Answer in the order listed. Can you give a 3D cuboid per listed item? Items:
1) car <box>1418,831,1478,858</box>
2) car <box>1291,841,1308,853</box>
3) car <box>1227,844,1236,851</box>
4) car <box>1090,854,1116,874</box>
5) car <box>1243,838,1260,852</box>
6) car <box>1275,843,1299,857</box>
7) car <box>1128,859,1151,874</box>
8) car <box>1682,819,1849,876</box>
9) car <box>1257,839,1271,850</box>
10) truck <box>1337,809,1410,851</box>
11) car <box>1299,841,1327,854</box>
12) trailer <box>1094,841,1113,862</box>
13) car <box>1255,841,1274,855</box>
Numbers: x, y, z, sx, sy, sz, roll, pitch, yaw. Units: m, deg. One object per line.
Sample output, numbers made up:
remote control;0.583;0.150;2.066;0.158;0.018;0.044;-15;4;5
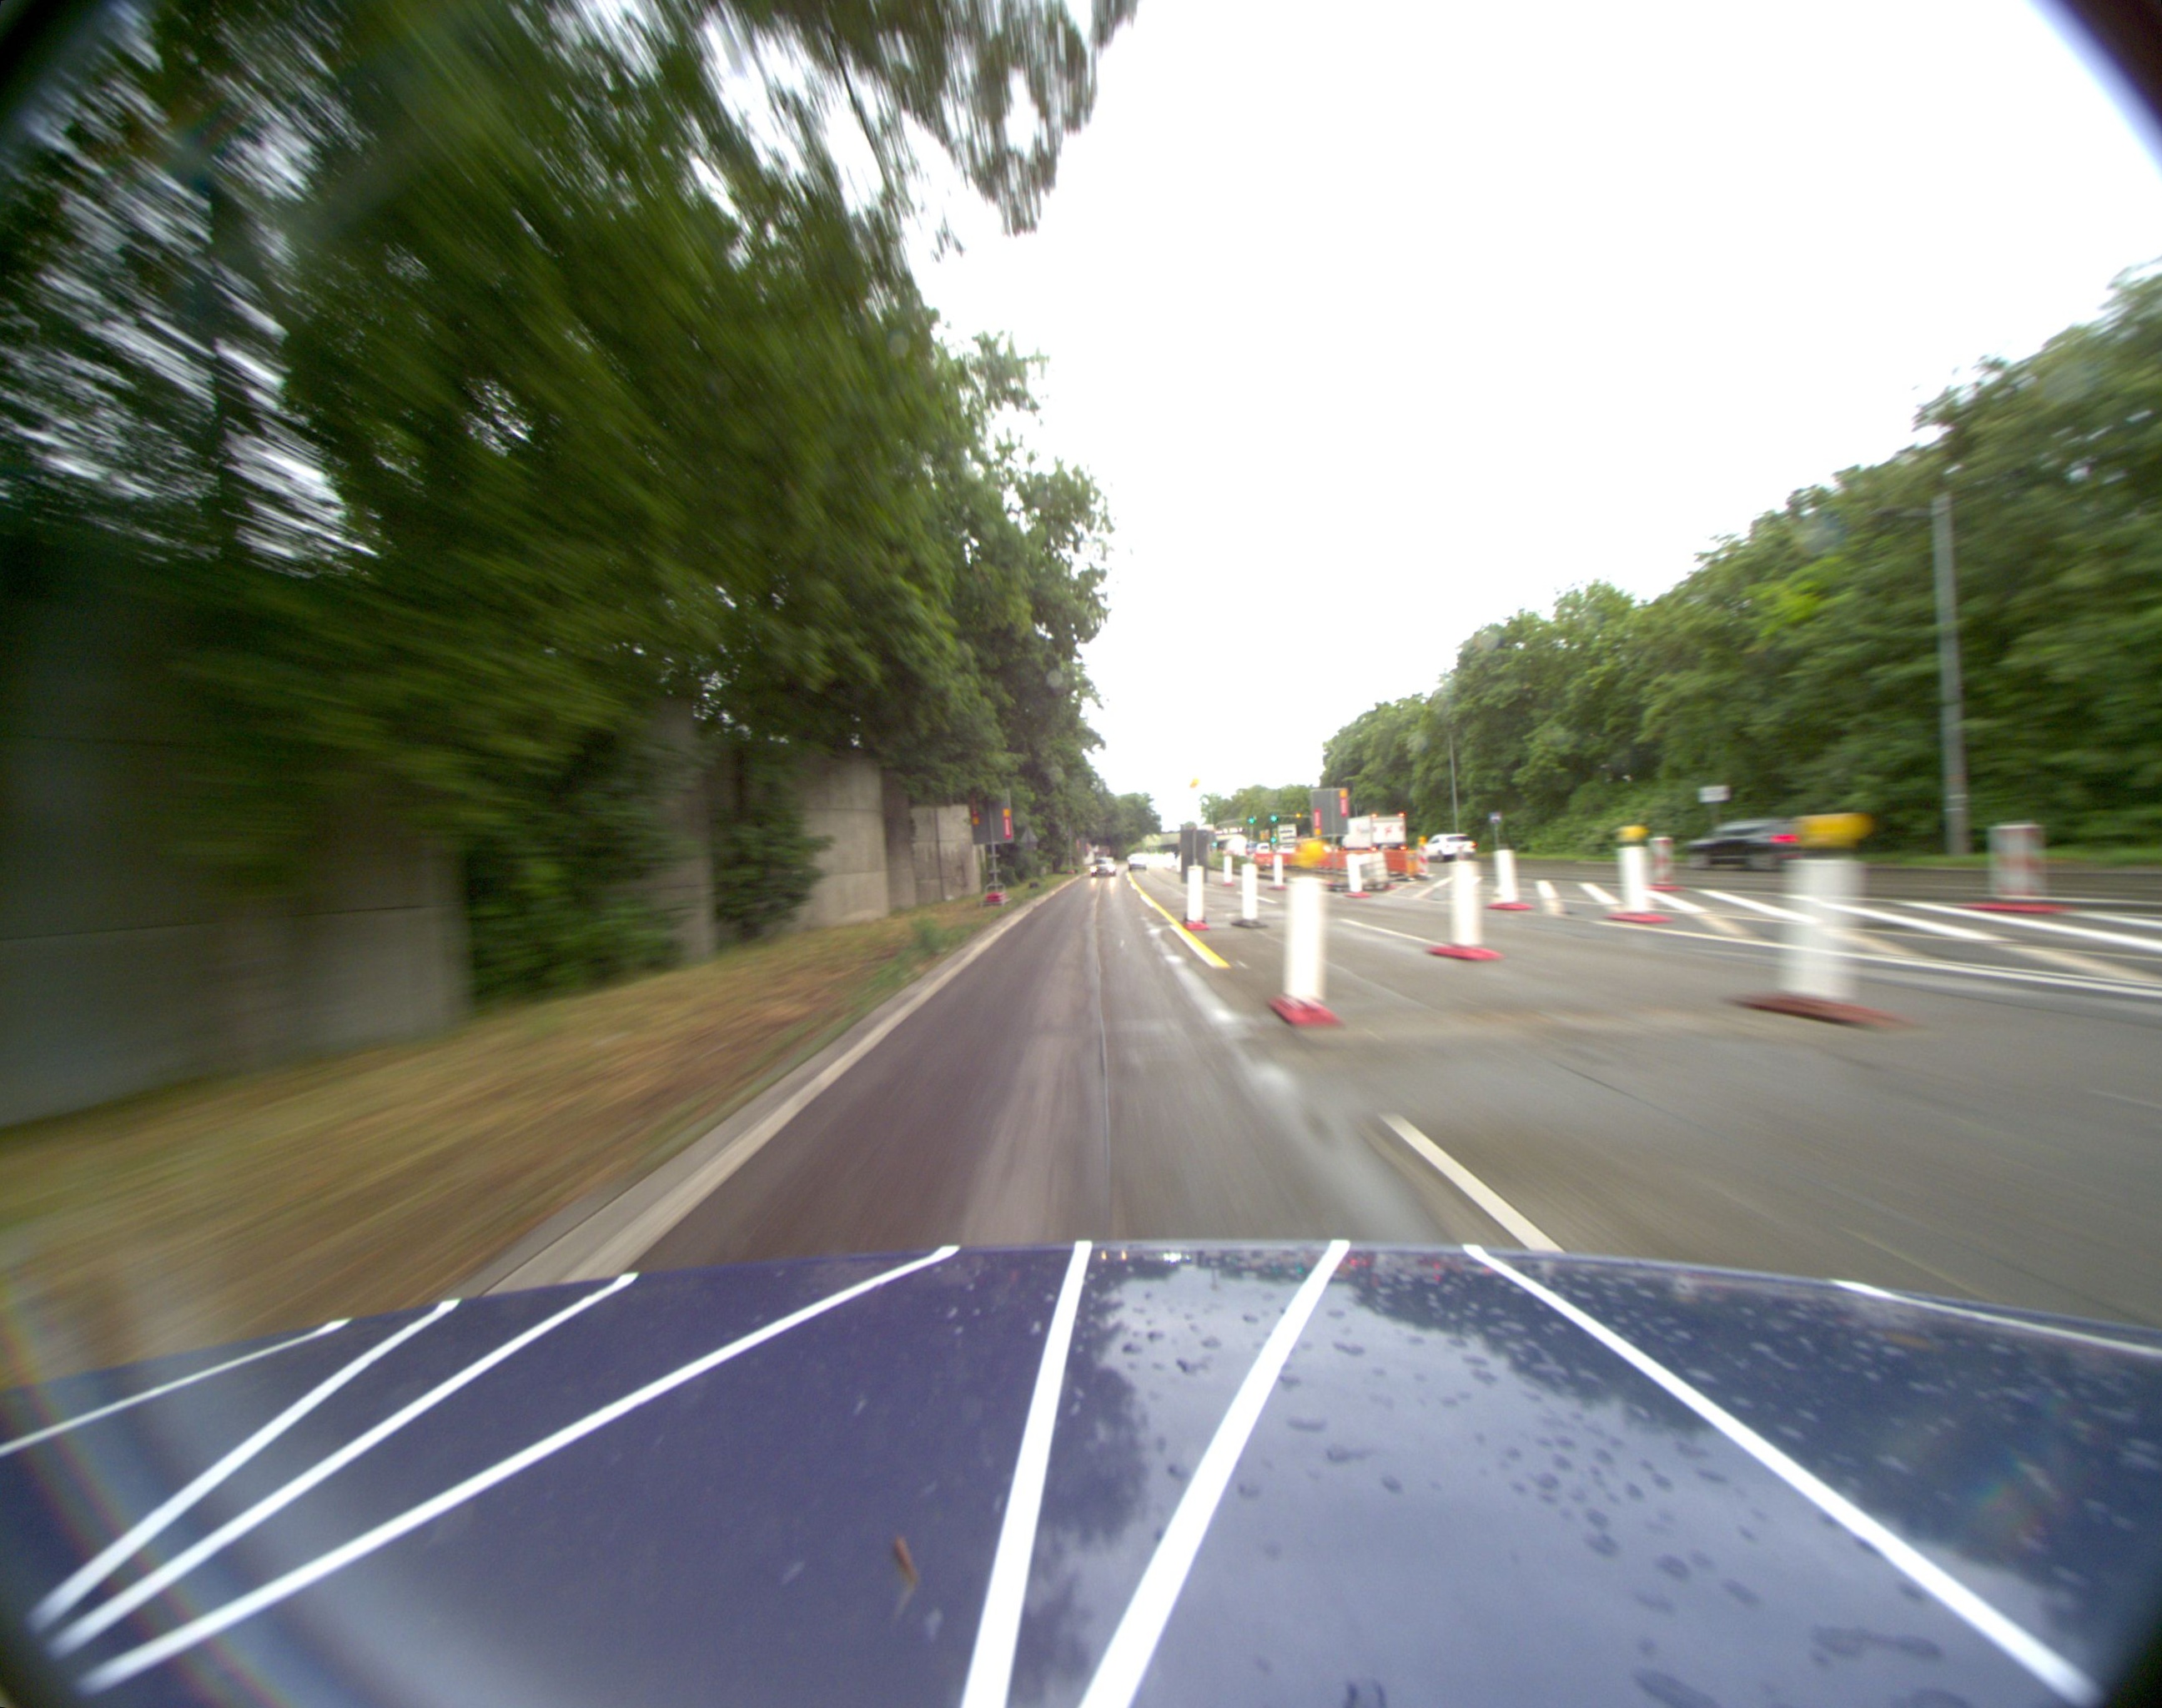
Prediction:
car;23.979;-0.600;49.835;1.848;1.713;4.720;0;0;4
car;29.618;-0.945;103.100;1.674;1.514;3.791;-4;0;8
car;29.035;-1.287;146.284;1.551;1.193;4.650;-4;0;12
car;1.629;0.723;58.177;1.698;1.393;3.824;-3;0;-1
car;30.443;-1.586;135.695;2.199;2.376;6.248;-4;-1;7
car;24.288;-0.509;89.713;1.839;1.541;4.041;-3;0;4
car;5.824;1.263;75.599;1.696;1.300;3.828;-3;0;12
car;21.809;-0.191;24.472;1.639;1.637;4.199;-2;0;2
car;36.088;-1.809;149.827;2.039;1.962;4.993;-4;-1;7
truck;24.882;-1.923;65.231;2.802;3.130;10.150;-3;0;4
car;22.594;-0.603;74.074;1.609;1.145;4.283;-3;0;4
trailer;4.220;-0.517;140.184;2.311;3.568;5.964;-2;1;12
car;27.574;-0.883;114.382;1.918;1.771;4.835;-4;-1;3
